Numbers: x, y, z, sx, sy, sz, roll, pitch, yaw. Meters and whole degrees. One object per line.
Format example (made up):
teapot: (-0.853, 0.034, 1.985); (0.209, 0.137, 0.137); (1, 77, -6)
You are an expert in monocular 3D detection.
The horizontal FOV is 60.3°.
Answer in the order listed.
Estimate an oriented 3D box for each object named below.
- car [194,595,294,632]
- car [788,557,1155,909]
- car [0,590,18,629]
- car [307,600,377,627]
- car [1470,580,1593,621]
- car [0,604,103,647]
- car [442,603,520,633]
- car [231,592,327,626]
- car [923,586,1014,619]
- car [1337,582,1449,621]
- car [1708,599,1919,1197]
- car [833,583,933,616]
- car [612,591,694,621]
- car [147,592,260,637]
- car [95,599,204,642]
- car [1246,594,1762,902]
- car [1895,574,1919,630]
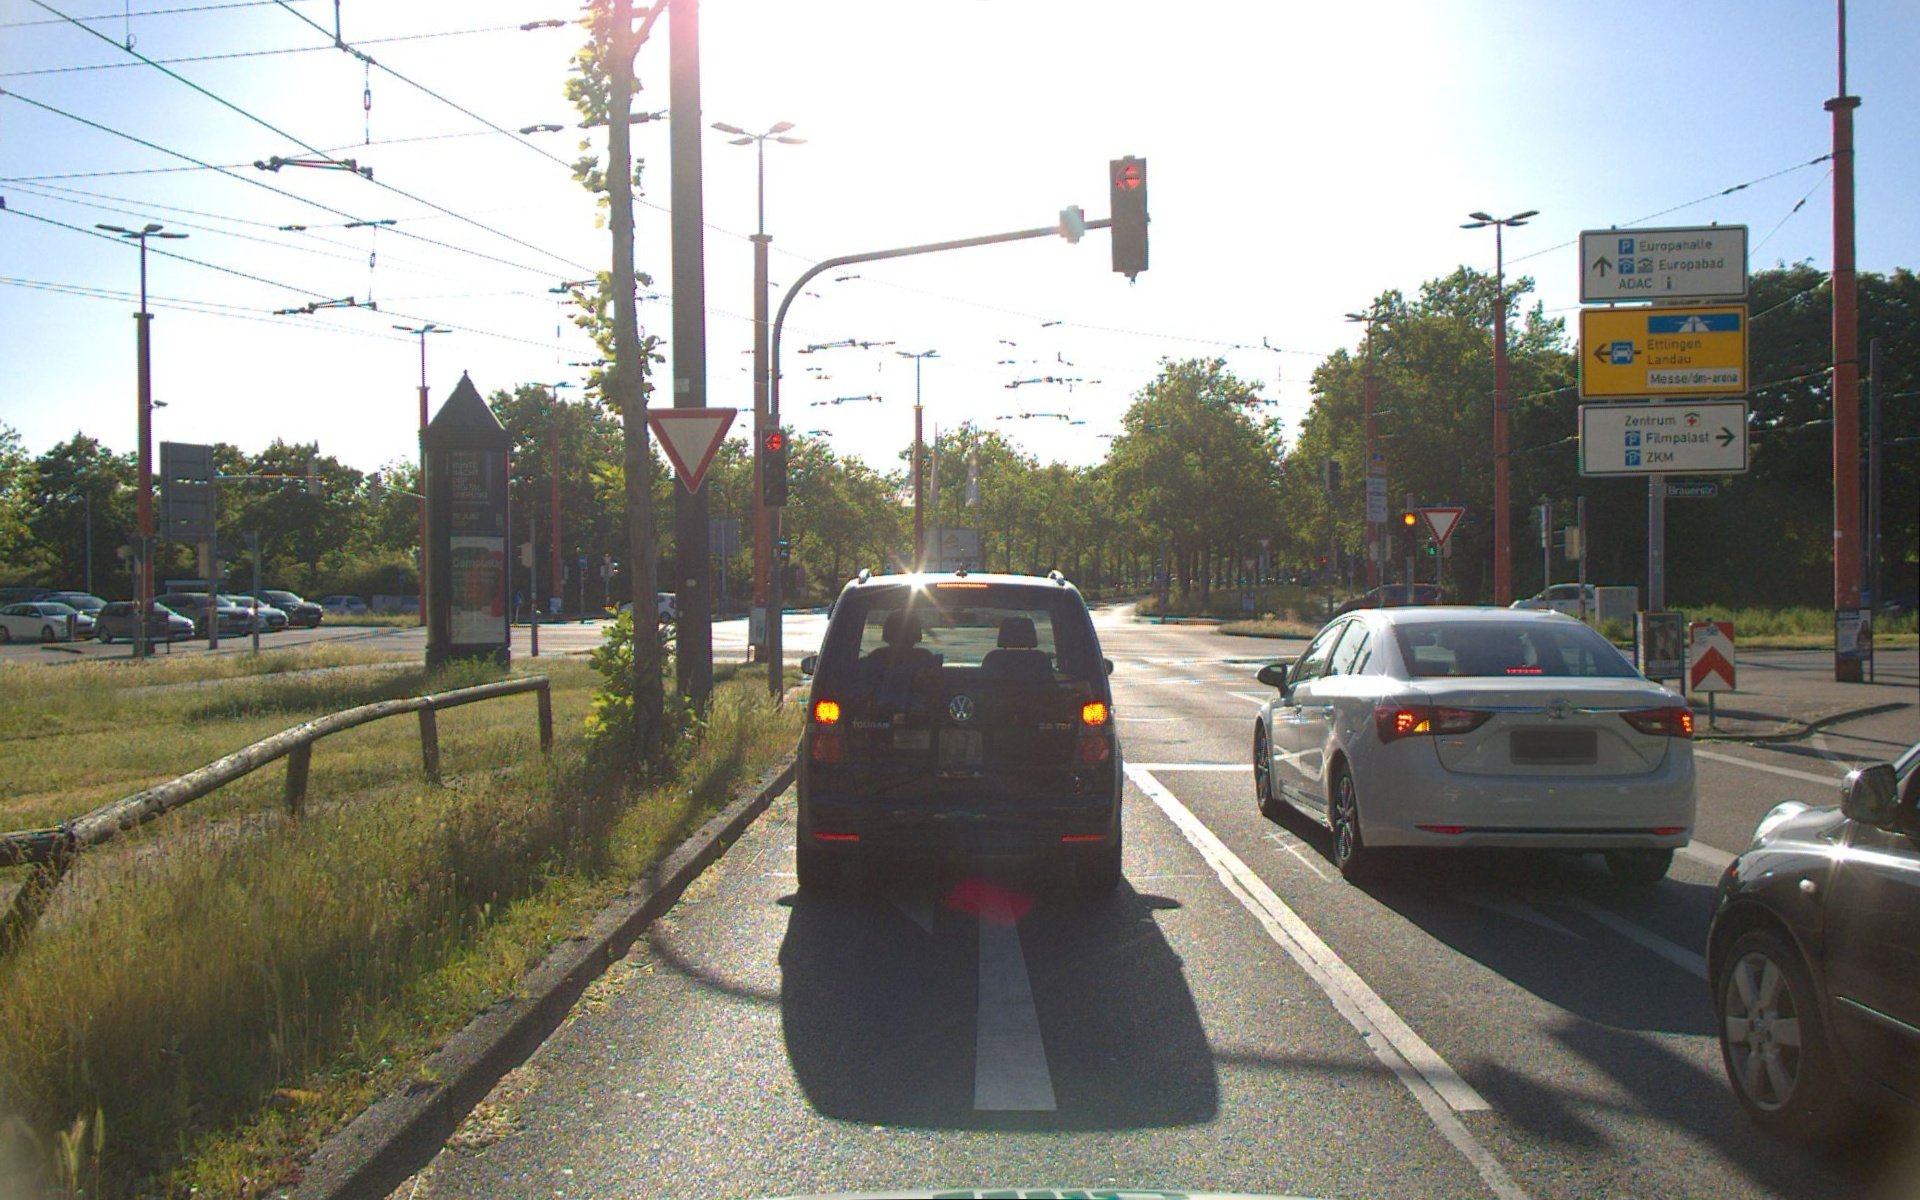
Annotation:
car: (-29.407, 0.531, 67.926); (4.060, 1.440, 1.542); (0, 0, 26)
car: (0.067, 0.634, 9.964); (1.703, 1.630, 4.326); (1, 0, 0)
car: (-42.988, 0.383, 71.635); (4.541, 1.676, 1.753); (0, 0, 30)
car: (-34.102, 0.727, 91.272); (3.721, 1.427, 1.653); (0, 0, 30)
car: (20.684, -0.009, 59.839); (4.039, 1.427, 1.655); (0, 0, 27)
car: (-34.941, 0.969, 63.253); (4.536, 1.546, 1.654); (0, 0, 30)
car: (-23.941, 0.862, 82.615); (3.721, 1.427, 1.653); (0, 0, 30)
car: (-29.471, 0.372, 71.549); (4.060, 1.440, 1.542); (0, 0, 26)
car: (0.369, 0.091, 73.842); (3.718, 1.427, 1.655); (0, 0, 27)
car: (17.104, 0.035, 65.365); (4.040, 1.497, 1.654); (0, 0, 28)
car: (3.136, 0.741, 3.490); (1.544, 1.465, 3.441); (1, 0, 0)
car: (-3.362, -0.028, 72.175); (4.035, 1.427, 1.656); (0, 0, 23)
car: (-15.185, 0.275, 81.846); (3.717, 1.427, 1.655); (0, 0, 26)
car: (-29.320, 0.540, 64.092); (4.541, 1.676, 1.654); (0, 0, 30)
car: (-29.546, 0.730, 60.300); (3.755, 1.466, 1.655); (0, 0, 27)
car: (3.014, 0.728, 10.186); (1.762, 1.465, 4.326); (1, 0, 0)
car: (32.702, 0.081, 53.662); (4.039, 1.822, 1.796); (0, 0, 28)
